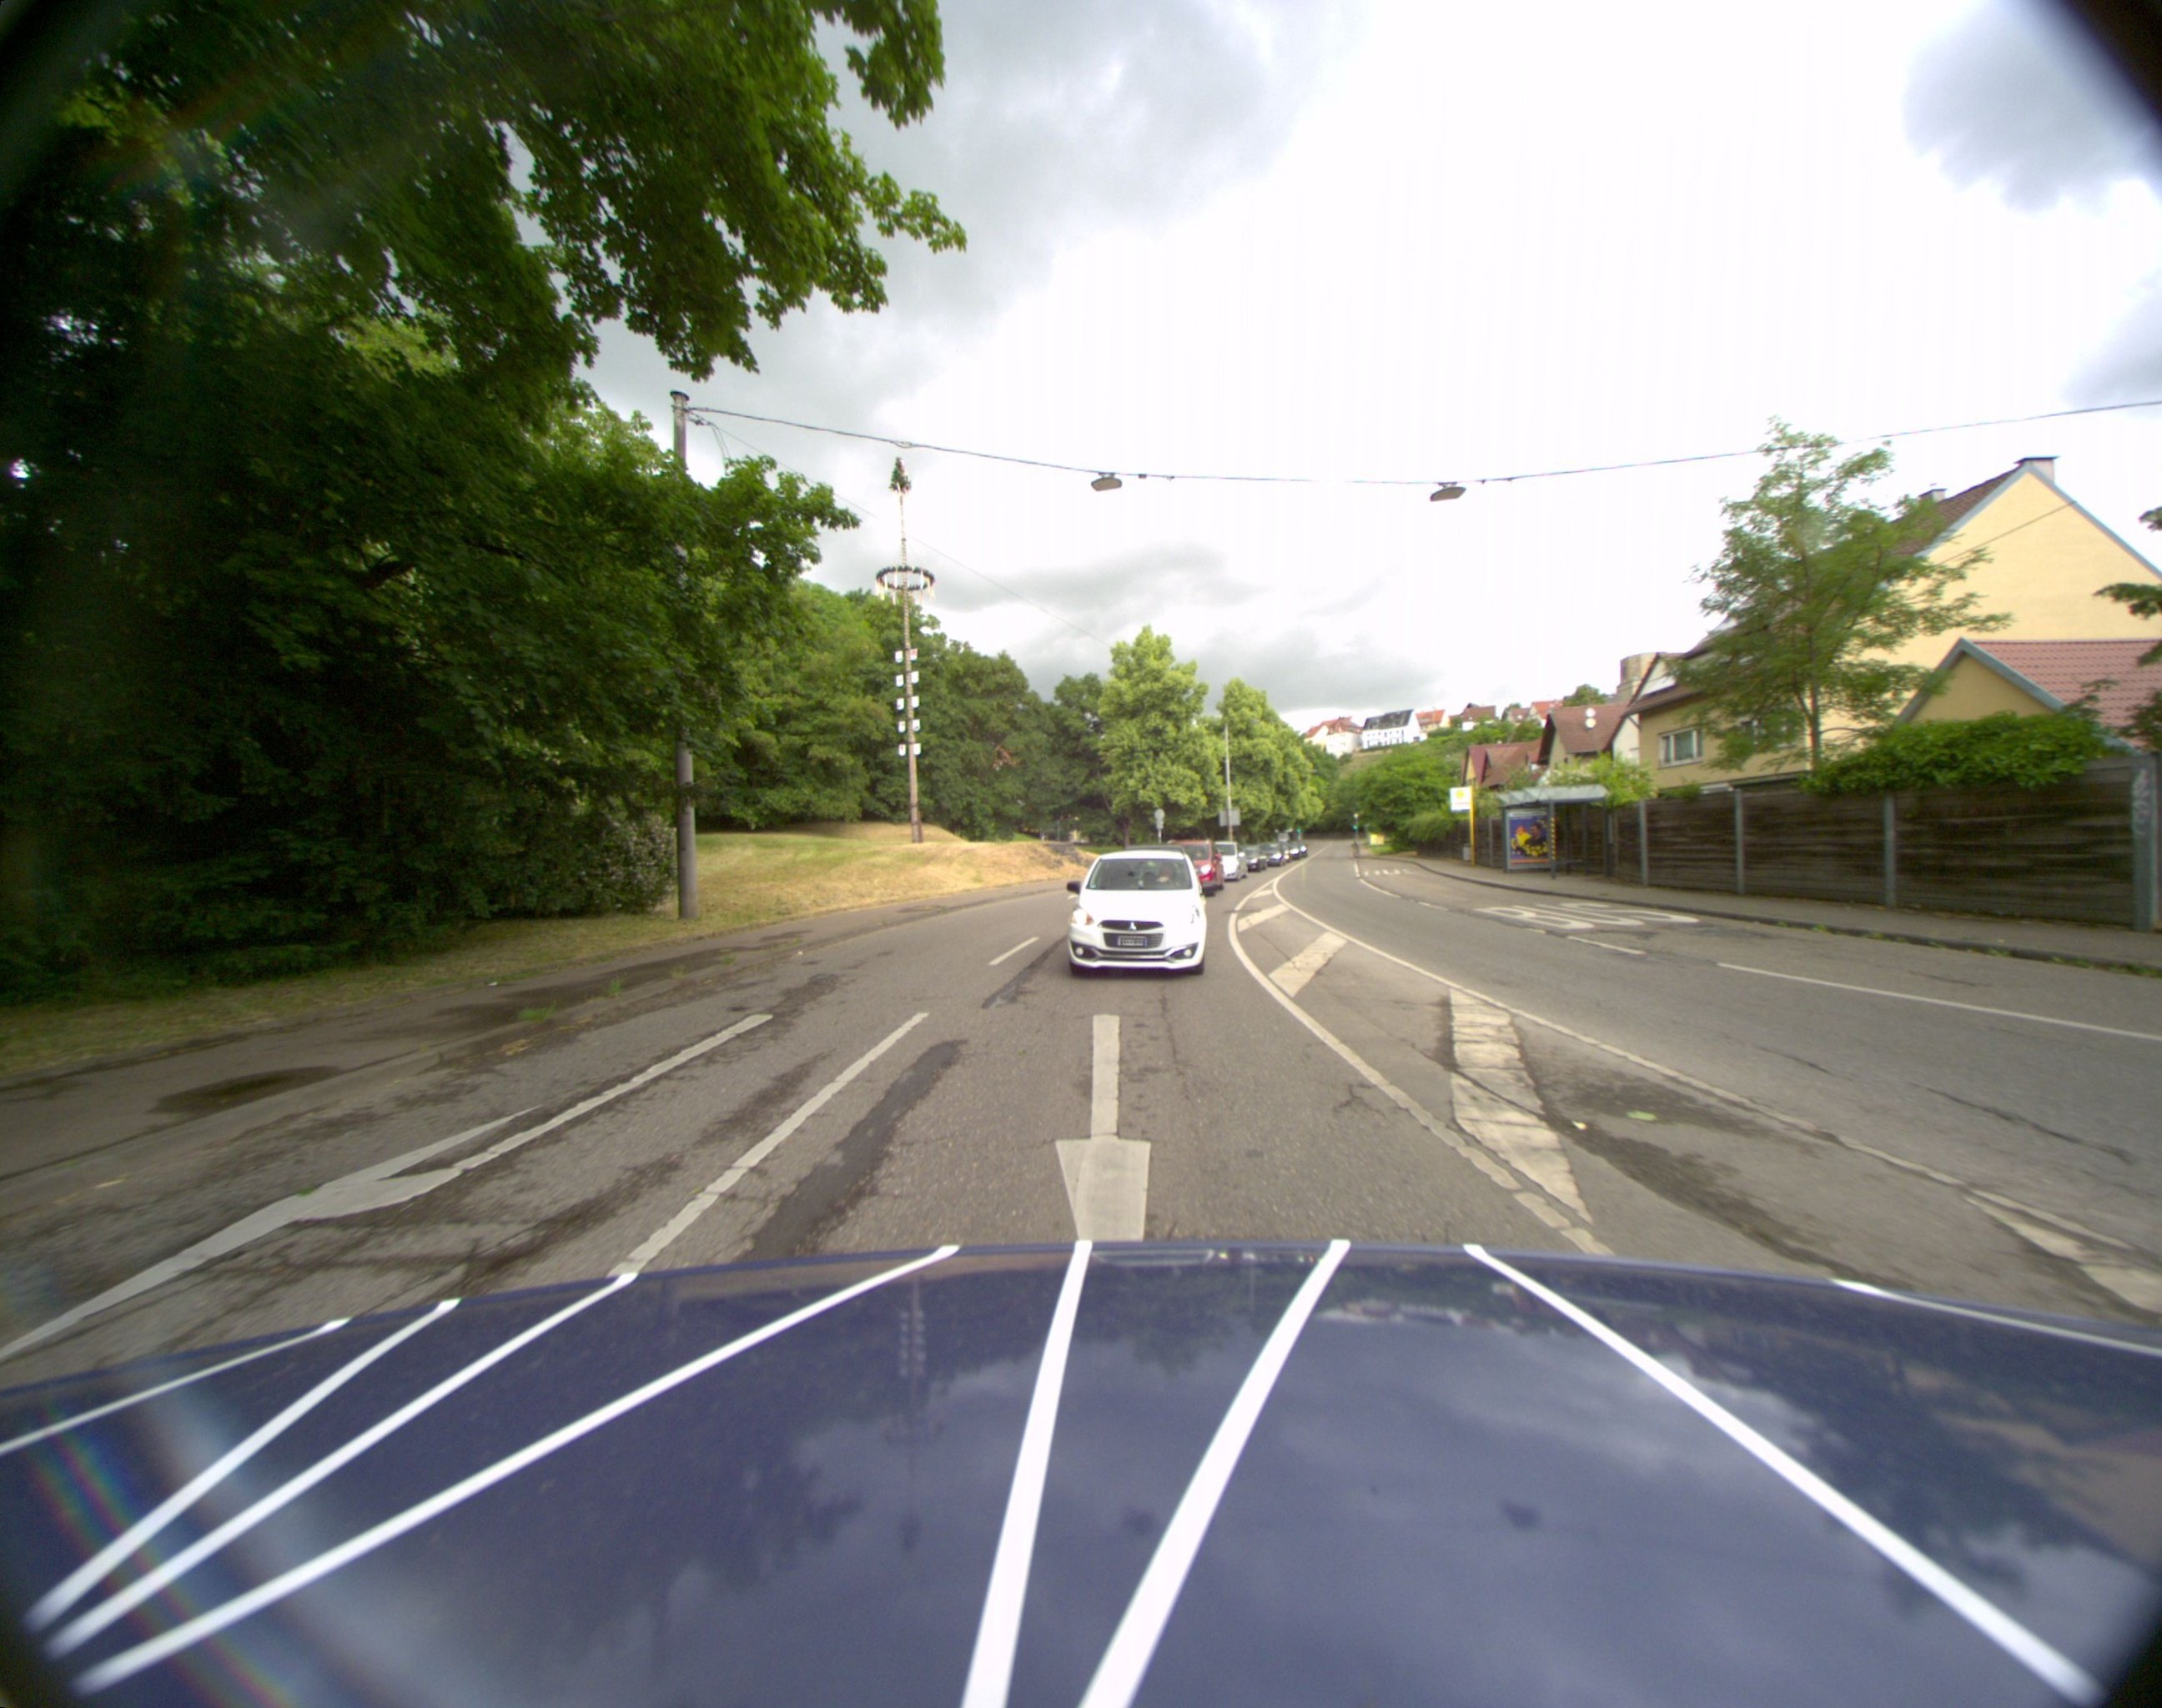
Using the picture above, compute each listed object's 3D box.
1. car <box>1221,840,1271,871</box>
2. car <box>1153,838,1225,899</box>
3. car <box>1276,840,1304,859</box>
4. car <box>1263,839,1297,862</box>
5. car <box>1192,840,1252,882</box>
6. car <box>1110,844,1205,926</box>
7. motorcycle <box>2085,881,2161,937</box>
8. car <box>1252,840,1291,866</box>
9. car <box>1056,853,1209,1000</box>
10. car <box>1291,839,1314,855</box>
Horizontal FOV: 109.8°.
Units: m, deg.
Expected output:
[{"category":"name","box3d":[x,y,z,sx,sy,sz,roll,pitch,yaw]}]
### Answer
[{"category":"car","box3d":[8.535,0.067,39.078,1.851,1.449,4.005,-1,1,22]},{"category":"car","box3d":[3.363,0.370,23.008,1.673,1.632,4.104,-1,1,15]},{"category":"car","box3d":[15.697,-0.367,56.972,1.642,1.262,3.630,-1,1,22]},{"category":"car","box3d":[13.544,-0.284,51.615,1.704,1.438,3.872,-1,1,22]},{"category":"car","box3d":[5.789,0.240,30.816,1.780,1.560,4.005,-1,1,19]},{"category":"car","box3d":[1.808,0.591,16.760,1.729,1.512,4.002,-1,1,10]},{"category":"motorcycle","box3d":[16.824,0.850,11.828,1.582,0.819,0.419,-1,2,9]},{"category":"car","box3d":[11.380,-0.095,45.174,1.694,1.403,3.987,-1,1,22]},{"category":"car","box3d":[0.830,0.798,10.273,1.627,1.500,4.001,-1,1,8]},{"category":"car","box3d":[18.338,-0.616,62.789,1.417,1.242,3.300,-1,1,22]}]
